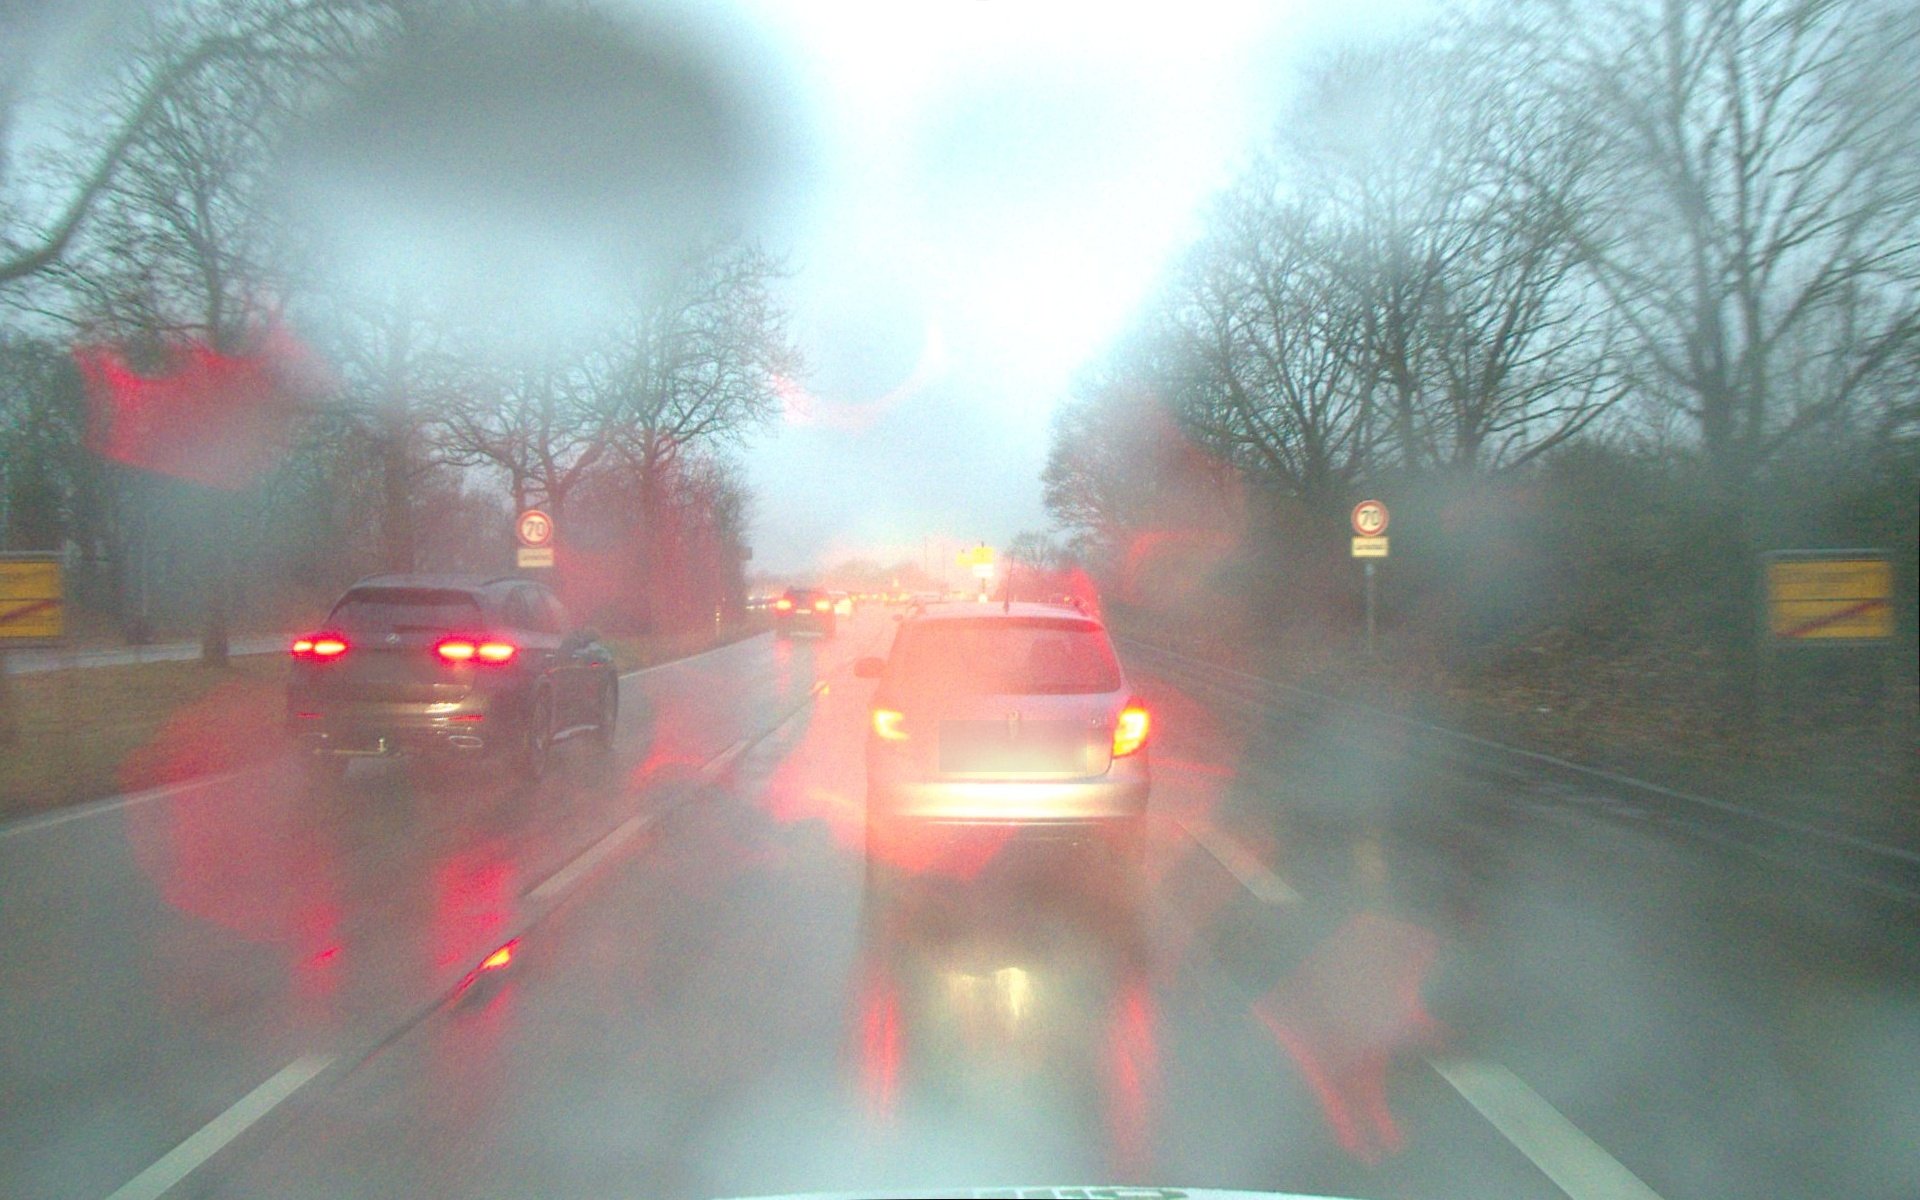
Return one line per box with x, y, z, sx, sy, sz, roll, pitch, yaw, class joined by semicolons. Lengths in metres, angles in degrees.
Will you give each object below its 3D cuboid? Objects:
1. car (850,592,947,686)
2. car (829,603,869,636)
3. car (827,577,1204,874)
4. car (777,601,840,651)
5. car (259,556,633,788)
-1.209;0.761;33.964;1.859;1.798;4.308;0;0;-1;car
-5.514;0.937;82.401;1.753;1.572;3.999;-1;0;-1;car
0.266;0.665;10.656;1.953;1.527;4.137;0;0;-1;car
-5.001;0.848;54.981;1.753;1.572;3.999;-1;0;-1;car
-4.136;0.523;14.108;1.953;1.629;4.306;2;0;-2;car
